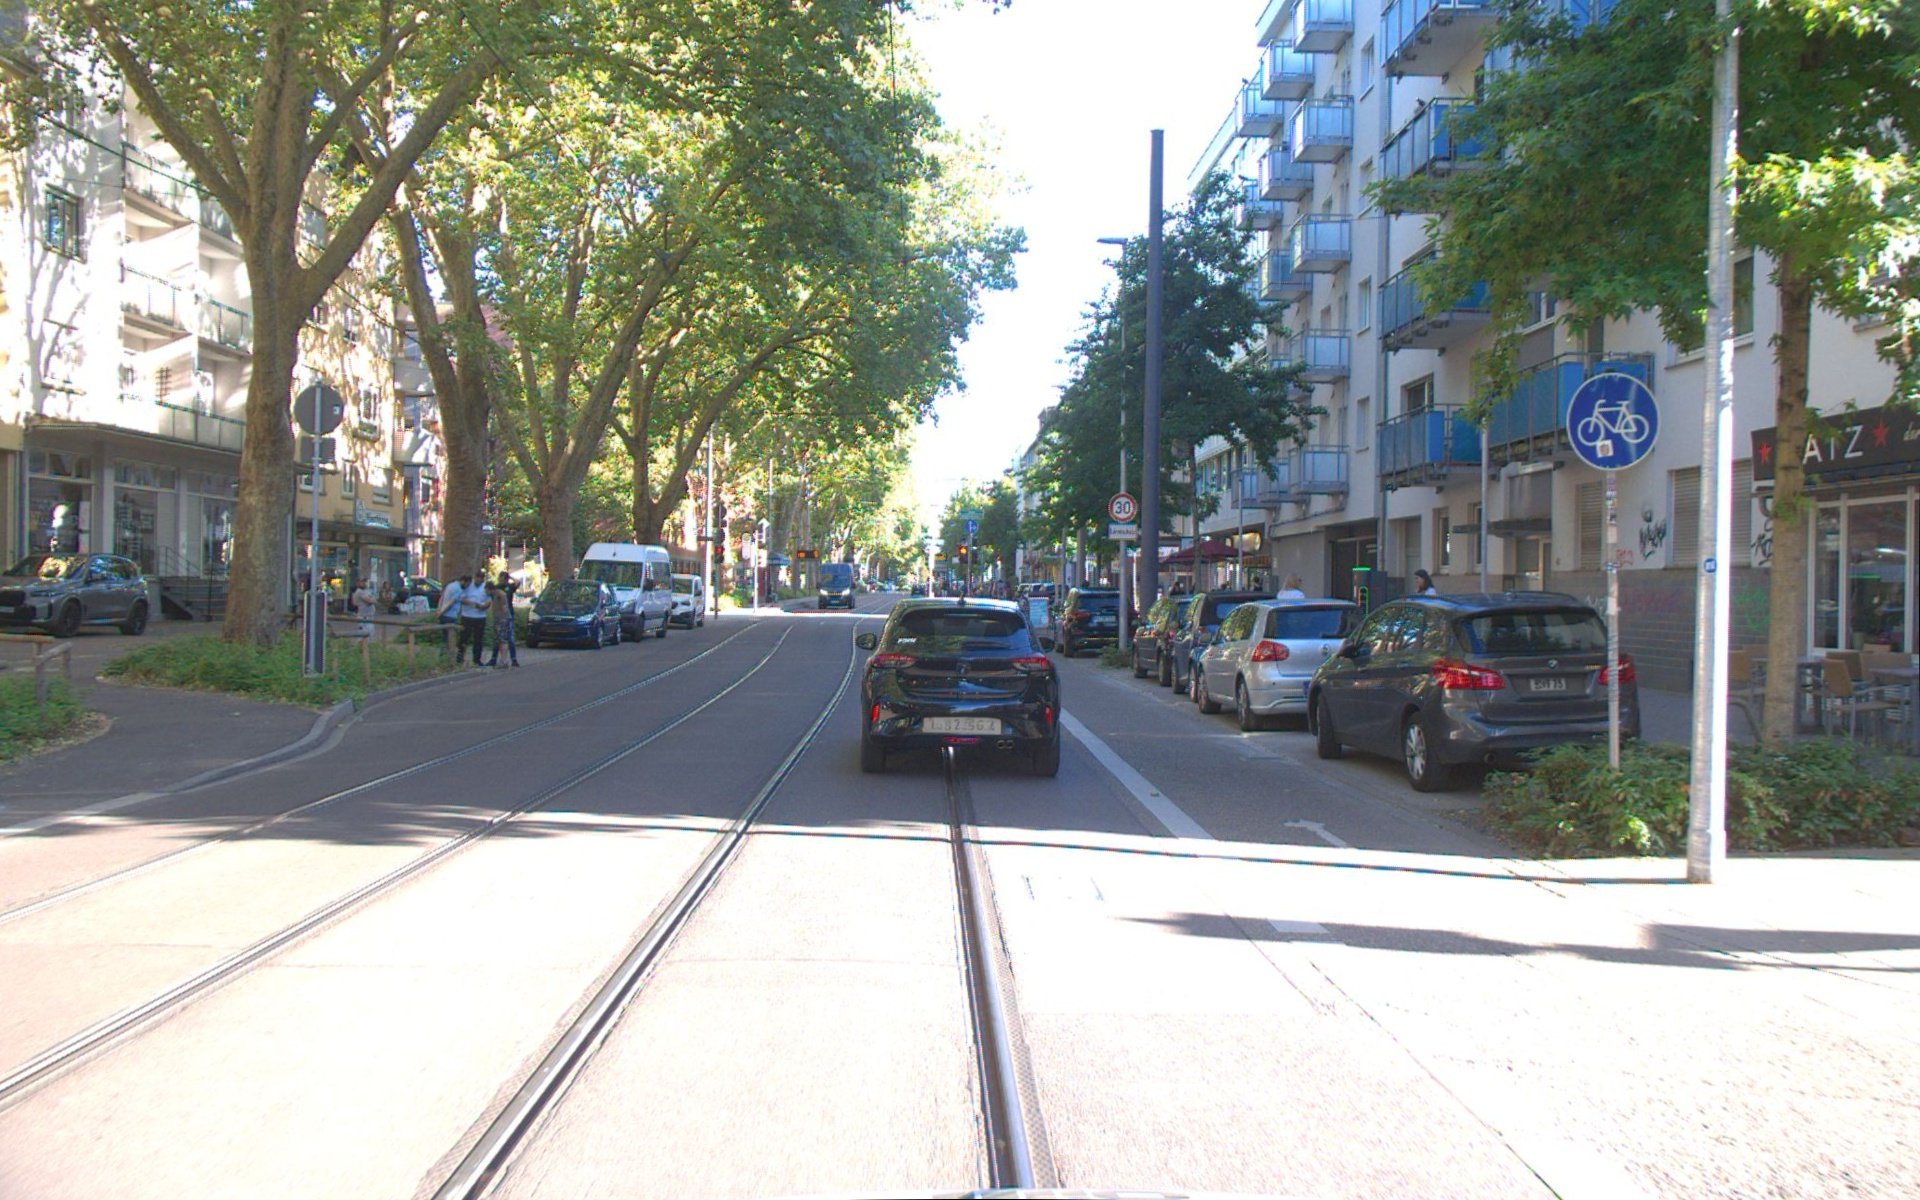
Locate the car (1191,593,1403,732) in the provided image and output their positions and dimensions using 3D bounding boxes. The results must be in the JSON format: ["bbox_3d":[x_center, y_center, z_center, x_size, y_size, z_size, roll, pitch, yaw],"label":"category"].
[{"bbox_3d":[4.022,0.694,20.279,1.684,1.516,3.680,1,0,-3],"label":"car"}]

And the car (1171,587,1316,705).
[{"bbox_3d":[4.116,0.623,24.412,1.617,1.601,3.084,1,0,0],"label":"car"}]

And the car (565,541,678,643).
[{"bbox_3d":[-9.393,-0.238,46.415,2.050,2.629,5.995,1,0,-2],"label":"car"}]

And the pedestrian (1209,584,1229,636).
[{"bbox_3d":[8.856,0.325,56.508,0.616,1.763,0.632,1,0,5],"label":"pedestrian"}]

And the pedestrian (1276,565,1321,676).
[{"bbox_3d":[5.216,0.315,25.508,0.587,1.680,0.631,1,0,5],"label":"pedestrian"}]

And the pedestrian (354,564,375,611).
[{"bbox_3d":[-20.701,-0.438,57.520,0.542,1.610,0.573,1,0,-6],"label":"pedestrian"}]

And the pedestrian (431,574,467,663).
[{"bbox_3d":[-9.375,0.332,30.348,0.497,1.610,0.526,1,0,-5],"label":"pedestrian"}]

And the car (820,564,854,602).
[{"bbox_3d":[-7.479,-1.024,100.478,1.955,2.250,5.097,1,0,-5],"label":"car"}]

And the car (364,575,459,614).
[{"bbox_3d":[-25.676,-0.262,77.558,3.912,1.735,1.997,1,0,-8],"label":"car"}]

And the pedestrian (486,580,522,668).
[{"bbox_3d":[-8.459,0.444,30.687,0.496,1.610,0.526,1,0,-2],"label":"pedestrian"}]

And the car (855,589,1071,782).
[{"bbox_3d":[-0.027,0.668,14.848,1.646,1.447,3.626,2,0,-2],"label":"car"}]

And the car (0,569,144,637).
[{"bbox_3d":[-18.999,0.029,34.936,1.661,1.298,3.827,2,1,-1],"label":"car"}]

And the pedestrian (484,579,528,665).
[{"bbox_3d":[-8.615,0.405,31.390,0.670,1.610,0.557,1,0,-3],"label":"pedestrian"}]

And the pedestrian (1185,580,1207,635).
[{"bbox_3d":[7.671,0.247,53.757,0.616,1.763,0.632,1,0,4],"label":"pedestrian"}]

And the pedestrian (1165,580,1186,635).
[{"bbox_3d":[6.991,0.239,53.779,0.616,1.763,0.632,1,0,4],"label":"pedestrian"}]

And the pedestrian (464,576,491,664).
[{"bbox_3d":[-8.946,0.360,30.667,0.339,1.610,0.508,1,0,-3],"label":"pedestrian"}]

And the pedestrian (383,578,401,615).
[{"bbox_3d":[-21.135,-0.141,61.591,0.497,1.356,0.526,1,0,-4],"label":"pedestrian"}]

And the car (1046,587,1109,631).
[{"bbox_3d":[4.759,0.339,66.663,1.951,1.668,4.003,1,0,13],"label":"car"}]

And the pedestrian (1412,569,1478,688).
[{"bbox_3d":[7.413,0.424,25.329,0.776,1.779,0.770,1,0,1],"label":"pedestrian"}]

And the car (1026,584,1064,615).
[{"bbox_3d":[4.892,-0.023,95.751,1.953,1.735,3.999,1,0,-1],"label":"car"}]

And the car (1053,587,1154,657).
[{"bbox_3d":[3.340,0.469,39.083,1.953,1.534,3.999,1,0,-1],"label":"car"}]

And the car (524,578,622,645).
[{"bbox_3d":[-9.364,0.245,40.289,1.720,1.534,3.996,1,0,-5],"label":"car"}]

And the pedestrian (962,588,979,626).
[{"bbox_3d":[0.444,0.295,70.343,0.583,1.618,0.891,1,0,-8],"label":"pedestrian"}]

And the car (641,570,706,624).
[{"bbox_3d":[-9.763,-0.115,56.644,1.955,1.747,3.994,1,0,-7],"label":"car"}]

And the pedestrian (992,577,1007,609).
[{"bbox_3d":[2.618,-0.436,109.508,0.839,2.048,1.069,-3,0,-1],"label":"pedestrian"}]

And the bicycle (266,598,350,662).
[{"bbox_3d":[-12.037,0.549,30.536,1.659,1.080,0.452,3,0,29],"label":"bicycle"}]

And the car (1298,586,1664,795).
[{"bbox_3d":[4.449,0.683,14.802,1.685,1.601,4.080,1,0,-5],"label":"car"}]

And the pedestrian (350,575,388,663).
[{"bbox_3d":[-11.028,0.352,30.880,0.496,1.610,0.527,1,0,-1],"label":"pedestrian"}]

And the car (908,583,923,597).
[{"bbox_3d":[-5.471,-1.250,204.973,1.714,1.680,4.000,1,0,0],"label":"car"}]

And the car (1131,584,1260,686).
[{"bbox_3d":[3.951,0.543,28.268,1.683,1.601,3.682,1,0,0],"label":"car"}]

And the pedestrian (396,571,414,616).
[{"bbox_3d":[-20.476,-0.241,60.987,0.497,1.610,0.526,1,0,-4],"label":"pedestrian"}]
